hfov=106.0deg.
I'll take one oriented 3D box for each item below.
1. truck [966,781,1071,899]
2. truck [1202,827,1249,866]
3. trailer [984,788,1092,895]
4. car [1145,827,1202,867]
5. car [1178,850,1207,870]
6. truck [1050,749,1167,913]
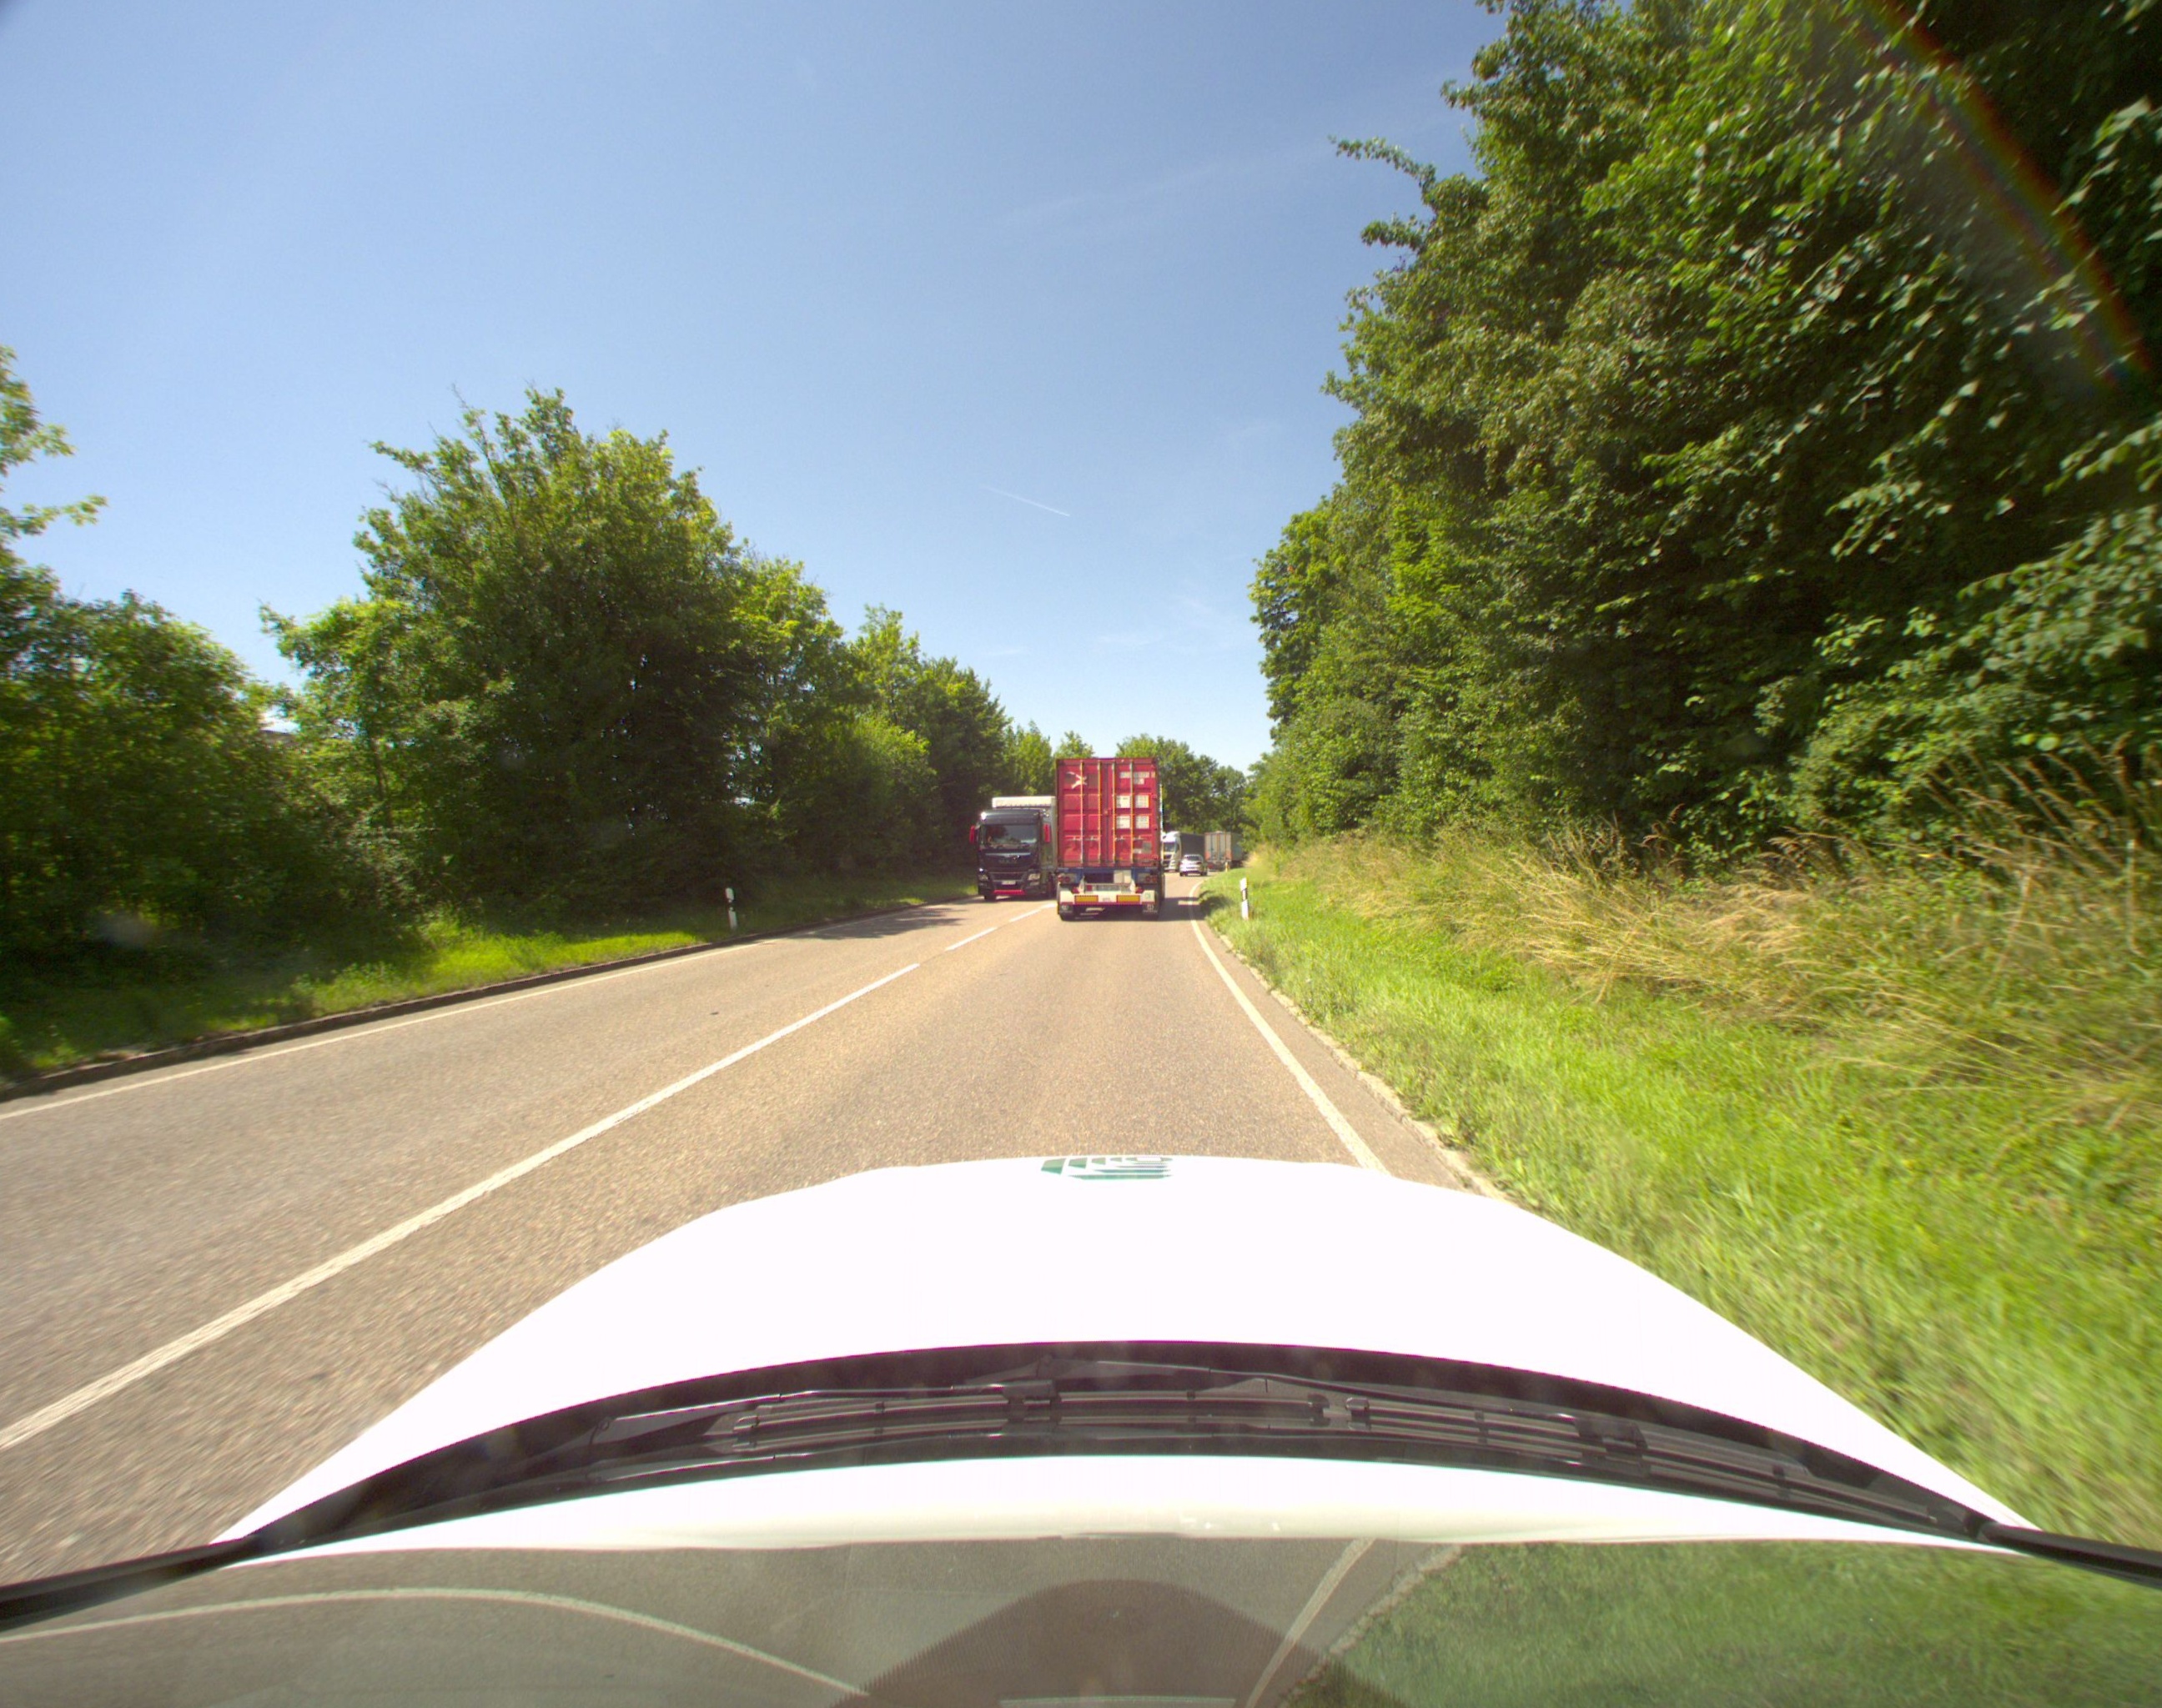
[{"bbox_3d":[-2.293,-0.483,32.110,2.906,4.183,5.931,-1,-1,7],"label":"truck"},{"bbox_3d":[15.297,-0.756,85.467,2.898,3.717,13.422,-2,0,18],"label":"truck"},{"bbox_3d":[-1.633,-0.439,37.554,2.906,4.183,11.287,-1,-1,7],"label":"trailer"},{"bbox_3d":[9.905,-0.702,85.533,3.238,3.873,12.806,-2,0,18],"label":"car"},{"bbox_3d":[8.763,0.459,63.674,1.820,1.433,4.014,-3,-1,12],"label":"car"},{"bbox_3d":[1.330,-0.472,25.776,2.634,3.806,13.382,-1,-1,6],"label":"truck"}]
